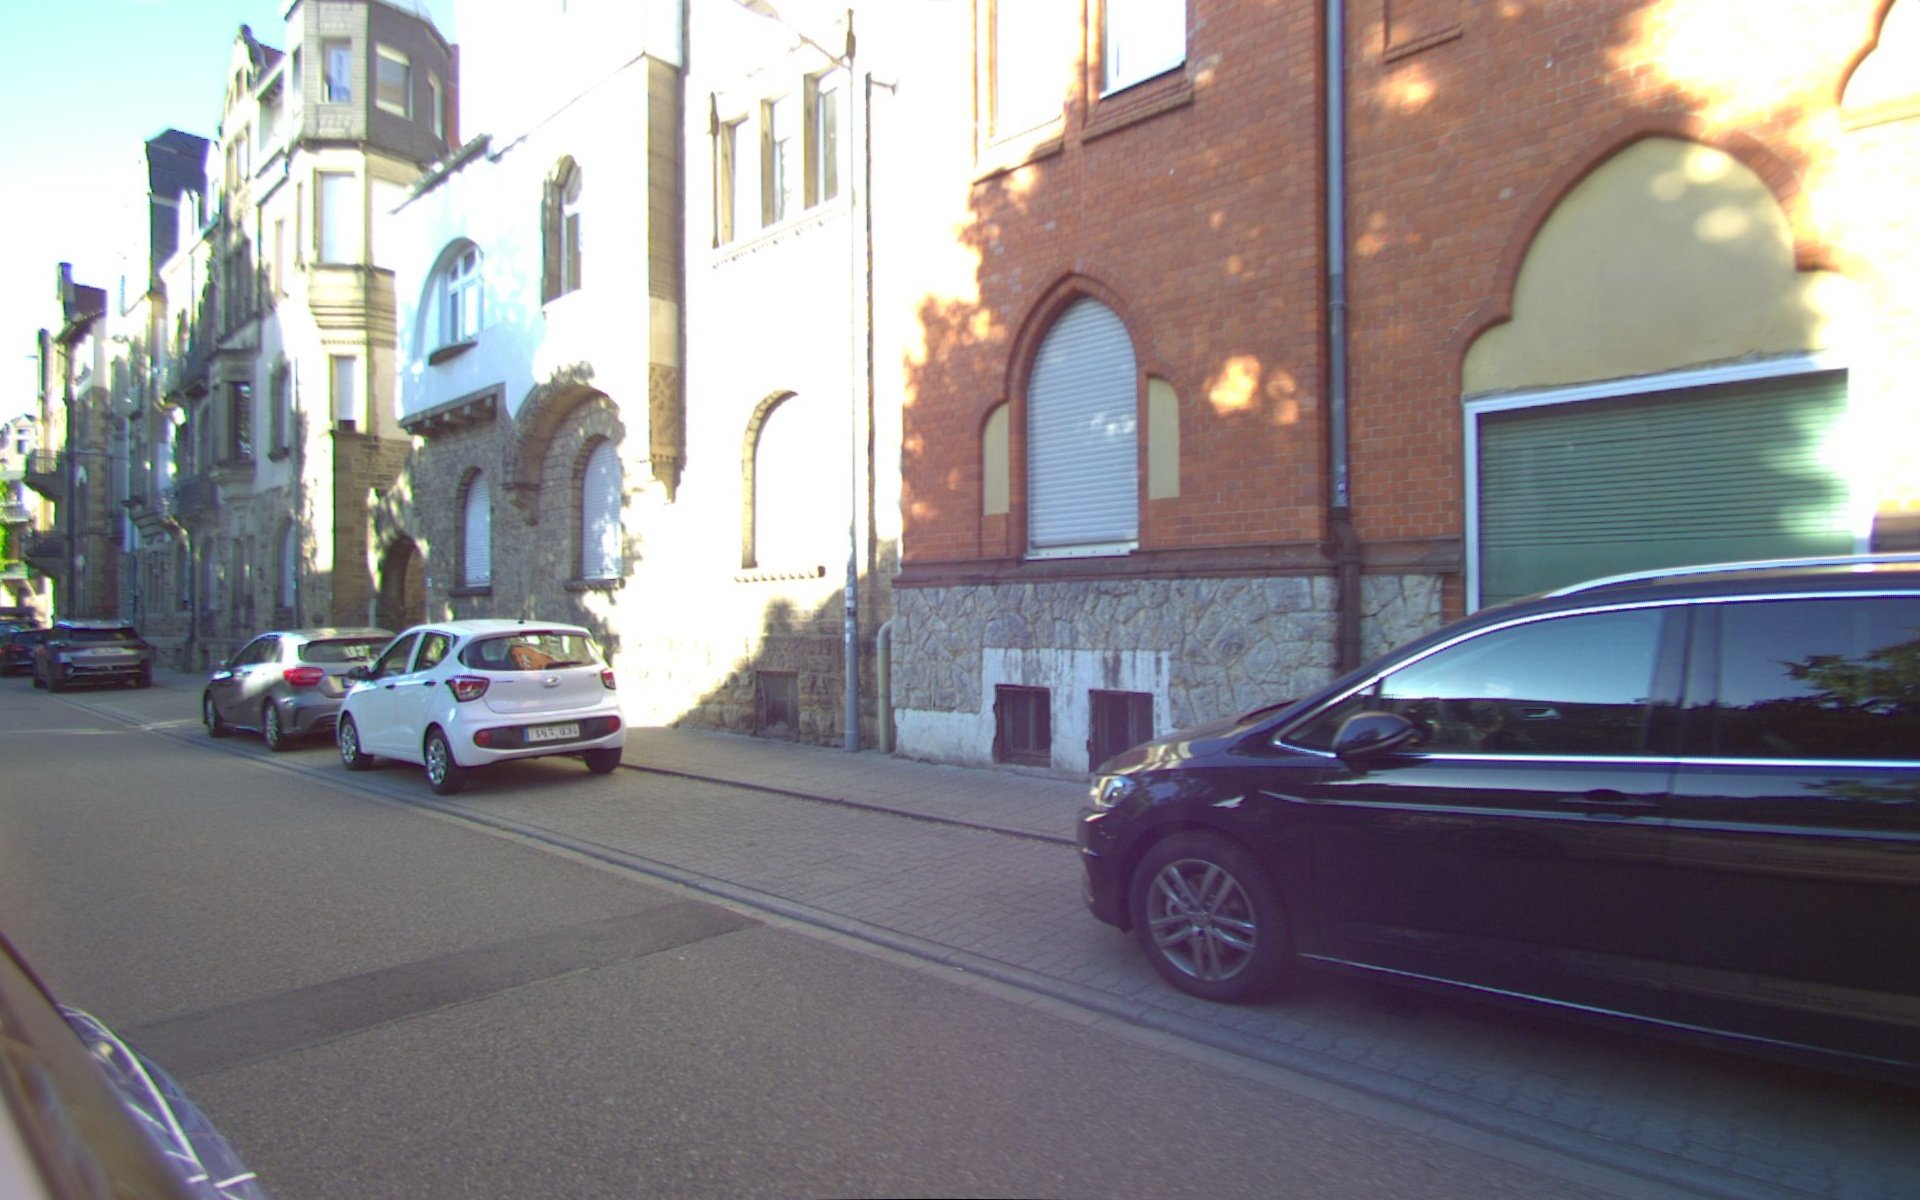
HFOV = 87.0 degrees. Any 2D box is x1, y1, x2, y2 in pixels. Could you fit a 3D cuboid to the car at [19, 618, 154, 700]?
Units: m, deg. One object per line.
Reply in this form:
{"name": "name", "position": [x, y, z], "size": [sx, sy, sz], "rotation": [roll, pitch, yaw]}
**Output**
{"name": "car", "position": [-20.790, 1.336, 24.020], "size": [4.337, 1.730, 1.856], "rotation": [-2, -1, 41]}

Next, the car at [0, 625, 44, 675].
{"name": "car", "position": [-34.458, 1.760, 36.389], "size": [4.210, 1.680, 1.751], "rotation": [-1, 0, 41]}

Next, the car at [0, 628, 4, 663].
{"name": "car", "position": [-42.541, 2.054, 43.608], "size": [3.854, 1.516, 1.612], "rotation": [-4, 1, 42]}

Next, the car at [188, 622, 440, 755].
{"name": "car", "position": [-8.631, 1.069, 13.377], "size": [4.108, 1.453, 1.660], "rotation": [-2, -1, 40]}

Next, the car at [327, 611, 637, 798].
{"name": "car", "position": [-4.815, 0.900, 9.981], "size": [3.591, 1.481, 1.549], "rotation": [-2, -1, 43]}

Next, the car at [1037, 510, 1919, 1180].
{"name": "car", "position": [2.530, 0.621, 3.540], "size": [4.346, 1.693, 1.653], "rotation": [-1, 0, 40]}

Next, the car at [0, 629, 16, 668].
{"name": "car", "position": [-38.607, 2.003, 39.957], "size": [3.854, 1.458, 1.612], "rotation": [-4, 1, 42]}

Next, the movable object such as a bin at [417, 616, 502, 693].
{"name": "movable object such as a bin", "position": [-10.196, 1.077, 20.624], "size": [1.173, 1.489, 1.180], "rotation": [-1, 0, 41]}

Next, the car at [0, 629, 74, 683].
{"name": "car", "position": [-29.577, 1.714, 32.022], "size": [4.210, 1.512, 1.751], "rotation": [0, -1, 41]}
